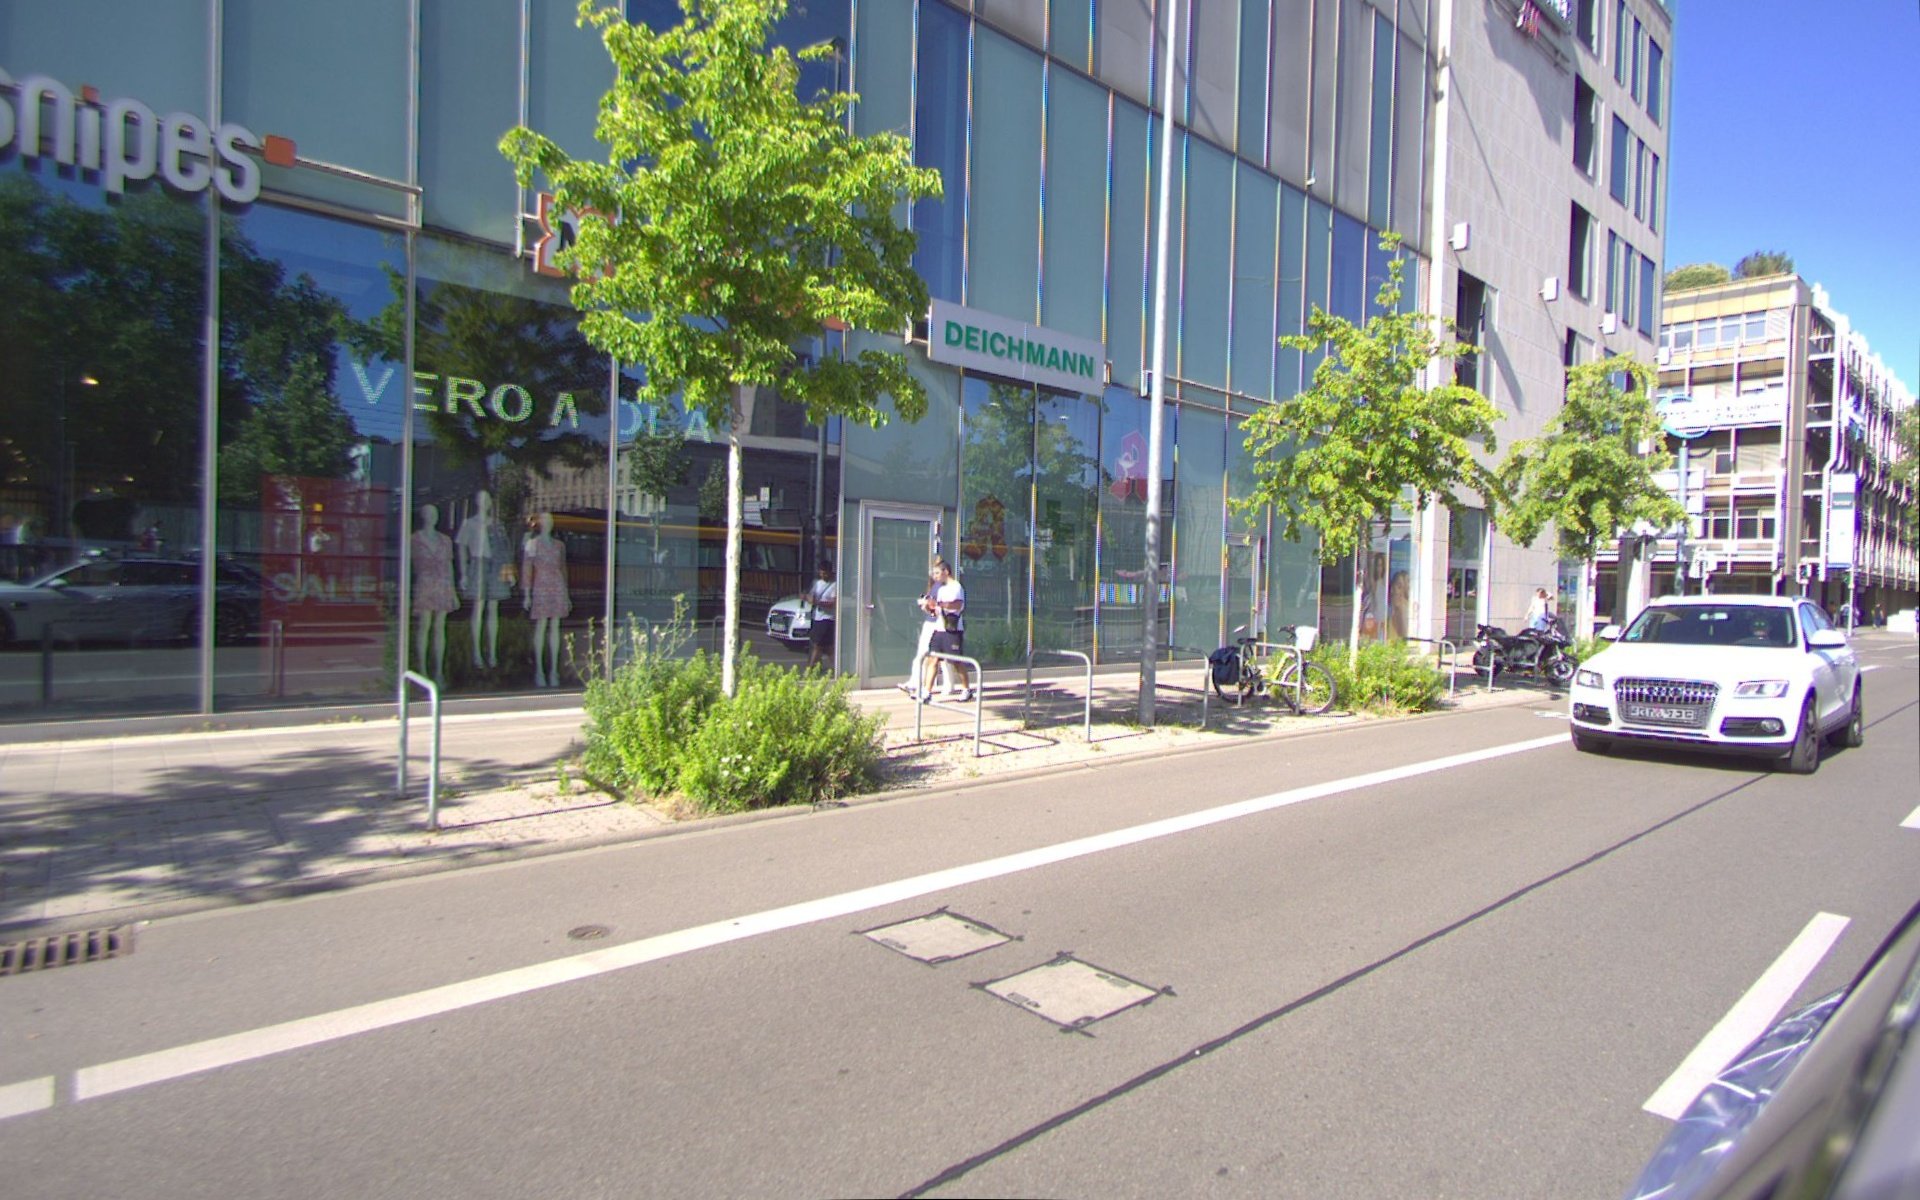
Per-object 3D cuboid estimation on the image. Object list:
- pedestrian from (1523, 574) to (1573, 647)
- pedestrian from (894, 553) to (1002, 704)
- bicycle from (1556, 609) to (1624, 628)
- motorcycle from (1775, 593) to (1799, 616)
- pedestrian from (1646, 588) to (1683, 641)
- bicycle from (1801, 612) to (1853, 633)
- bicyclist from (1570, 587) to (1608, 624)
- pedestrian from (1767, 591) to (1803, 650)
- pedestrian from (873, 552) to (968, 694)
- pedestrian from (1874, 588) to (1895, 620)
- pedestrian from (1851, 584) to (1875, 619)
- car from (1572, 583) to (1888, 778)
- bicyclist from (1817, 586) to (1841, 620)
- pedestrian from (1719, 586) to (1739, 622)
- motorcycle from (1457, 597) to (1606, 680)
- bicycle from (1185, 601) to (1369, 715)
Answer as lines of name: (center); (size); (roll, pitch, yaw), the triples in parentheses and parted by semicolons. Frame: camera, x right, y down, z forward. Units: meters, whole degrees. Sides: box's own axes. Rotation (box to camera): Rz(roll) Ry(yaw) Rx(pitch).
pedestrian: (15.263, 0.272, 26.258); (1.047, 1.823, 0.729); (1, 3, -40)
pedestrian: (-0.147, 0.312, 12.034); (0.885, 1.678, 0.822); (1, 4, -45)
bicycle: (26.391, 0.782, 42.429); (1.052, 0.679, 2.200); (1, 2, -36)
motorcycle: (55.349, 0.287, 67.746); (2.084, 1.459, 0.825); (1, 1, -40)
pedestrian: (22.243, 0.452, 31.948); (0.736, 1.628, 0.725); (2, 1, -39)
bicycle: (43.458, 1.114, 50.771); (1.912, 1.006, 0.702); (0, -1, 37)
bicyclist: (26.377, 0.226, 42.441); (1.052, 1.494, 1.025); (1, 1, -36)
pedestrian: (24.994, 0.604, 30.656); (0.686, 1.723, 0.658); (1, 3, -42)
pedestrian: (-0.491, 0.262, 12.673); (0.885, 1.678, 0.707); (0, 3, -45)
pedestrian: (59.922, 0.240, 65.594); (0.946, 2.039, 1.063); (2, 1, 42)
pedestrian: (53.020, 0.089, 59.451); (0.945, 2.039, 1.064); (2, 1, 39)
car: (8.181, 0.663, 10.603); (4.335, 1.634, 1.822); (0, 0, -41)
bicyclist: (43.549, 0.142, 50.729); (0.847, 1.709, 0.702); (-1, -2, 36)
pedestrian: (36.485, 0.186, 48.020); (0.659, 1.632, 0.519); (4, 3, 41)
motorcycle: (10.527, 0.676, 18.733); (0.886, 1.340, 2.196); (1, 2, -36)
bicycle: (3.997, 0.685, 12.955); (0.932, 1.220, 2.094); (1, 3, -34)
